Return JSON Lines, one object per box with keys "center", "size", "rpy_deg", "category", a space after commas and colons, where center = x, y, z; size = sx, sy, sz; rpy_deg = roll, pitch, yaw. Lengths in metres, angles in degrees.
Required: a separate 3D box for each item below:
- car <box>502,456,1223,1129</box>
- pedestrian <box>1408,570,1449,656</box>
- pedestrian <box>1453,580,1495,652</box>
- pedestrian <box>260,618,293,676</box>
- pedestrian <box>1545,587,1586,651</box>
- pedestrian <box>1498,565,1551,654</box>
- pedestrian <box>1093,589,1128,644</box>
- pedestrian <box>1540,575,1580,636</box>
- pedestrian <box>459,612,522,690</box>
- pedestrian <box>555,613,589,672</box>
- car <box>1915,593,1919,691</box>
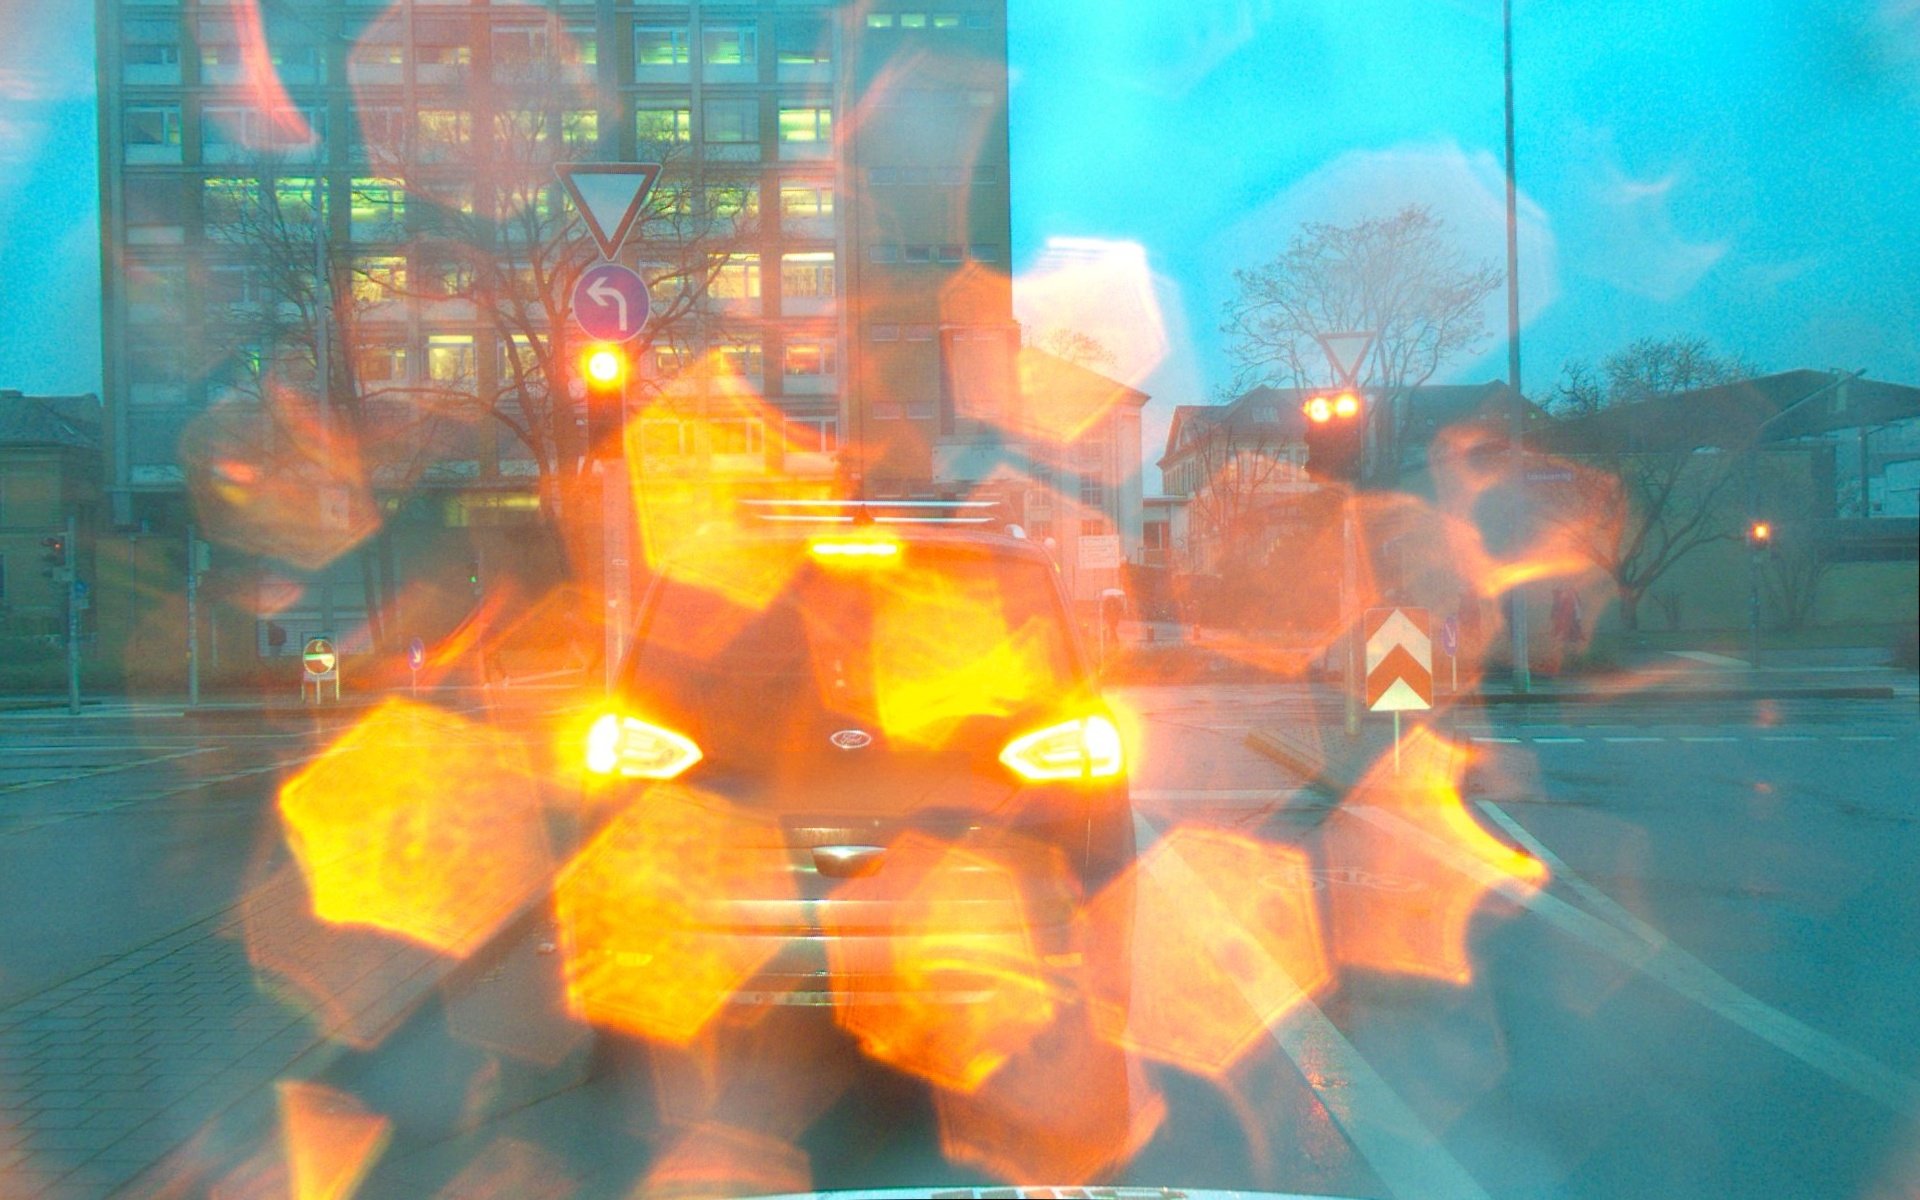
{"center": [-0.290, 0.539, 6.546], "size": [1.953, 1.821, 3.999], "rpy_deg": [1, 0, -1], "category": "car"}
{"center": [12.001, 0.318, 42.420], "size": [0.874, 2.150, 0.886], "rpy_deg": [-2, 0, 11], "category": "pedestrian"}
{"center": [13.418, 0.418, 43.198], "size": [0.975, 1.831, 0.920], "rpy_deg": [-2, 0, 17], "category": "pedestrian"}
{"center": [-20.926, 1.441, 50.651], "size": [0.625, 1.718, 0.637], "rpy_deg": [-2, 0, 16], "category": "pedestrian"}
{"center": [15.323, 0.473, 41.872], "size": [0.905, 1.559, 1.043], "rpy_deg": [-2, 0, 19], "category": "pedestrian"}
{"center": [14.014, 0.230, 41.056], "size": [0.877, 2.150, 0.884], "rpy_deg": [-2, 0, -10], "category": "pedestrian"}
{"center": [4.603, 0.498, 50.495], "size": [0.708, 1.656, 0.757], "rpy_deg": [-2, 0, 42], "category": "pedestrian"}
{"center": [15.576, 0.135, 42.954], "size": [0.874, 1.559, 0.886], "rpy_deg": [-2, 0, 17], "category": "pedestrian"}
{"center": [-11.964, 1.301, 42.164], "size": [0.980, 1.874, 1.140], "rpy_deg": [-2, 2, 18], "category": "pedestrian"}
{"center": [-11.219, 1.218, 47.857], "size": [0.743, 1.656, 0.558], "rpy_deg": [-2, 0, 12], "category": "pedestrian"}
{"center": [15.010, 0.491, 20.993], "size": [4.584, 1.324, 1.940], "rpy_deg": [-2, -1, 8], "category": "car"}
